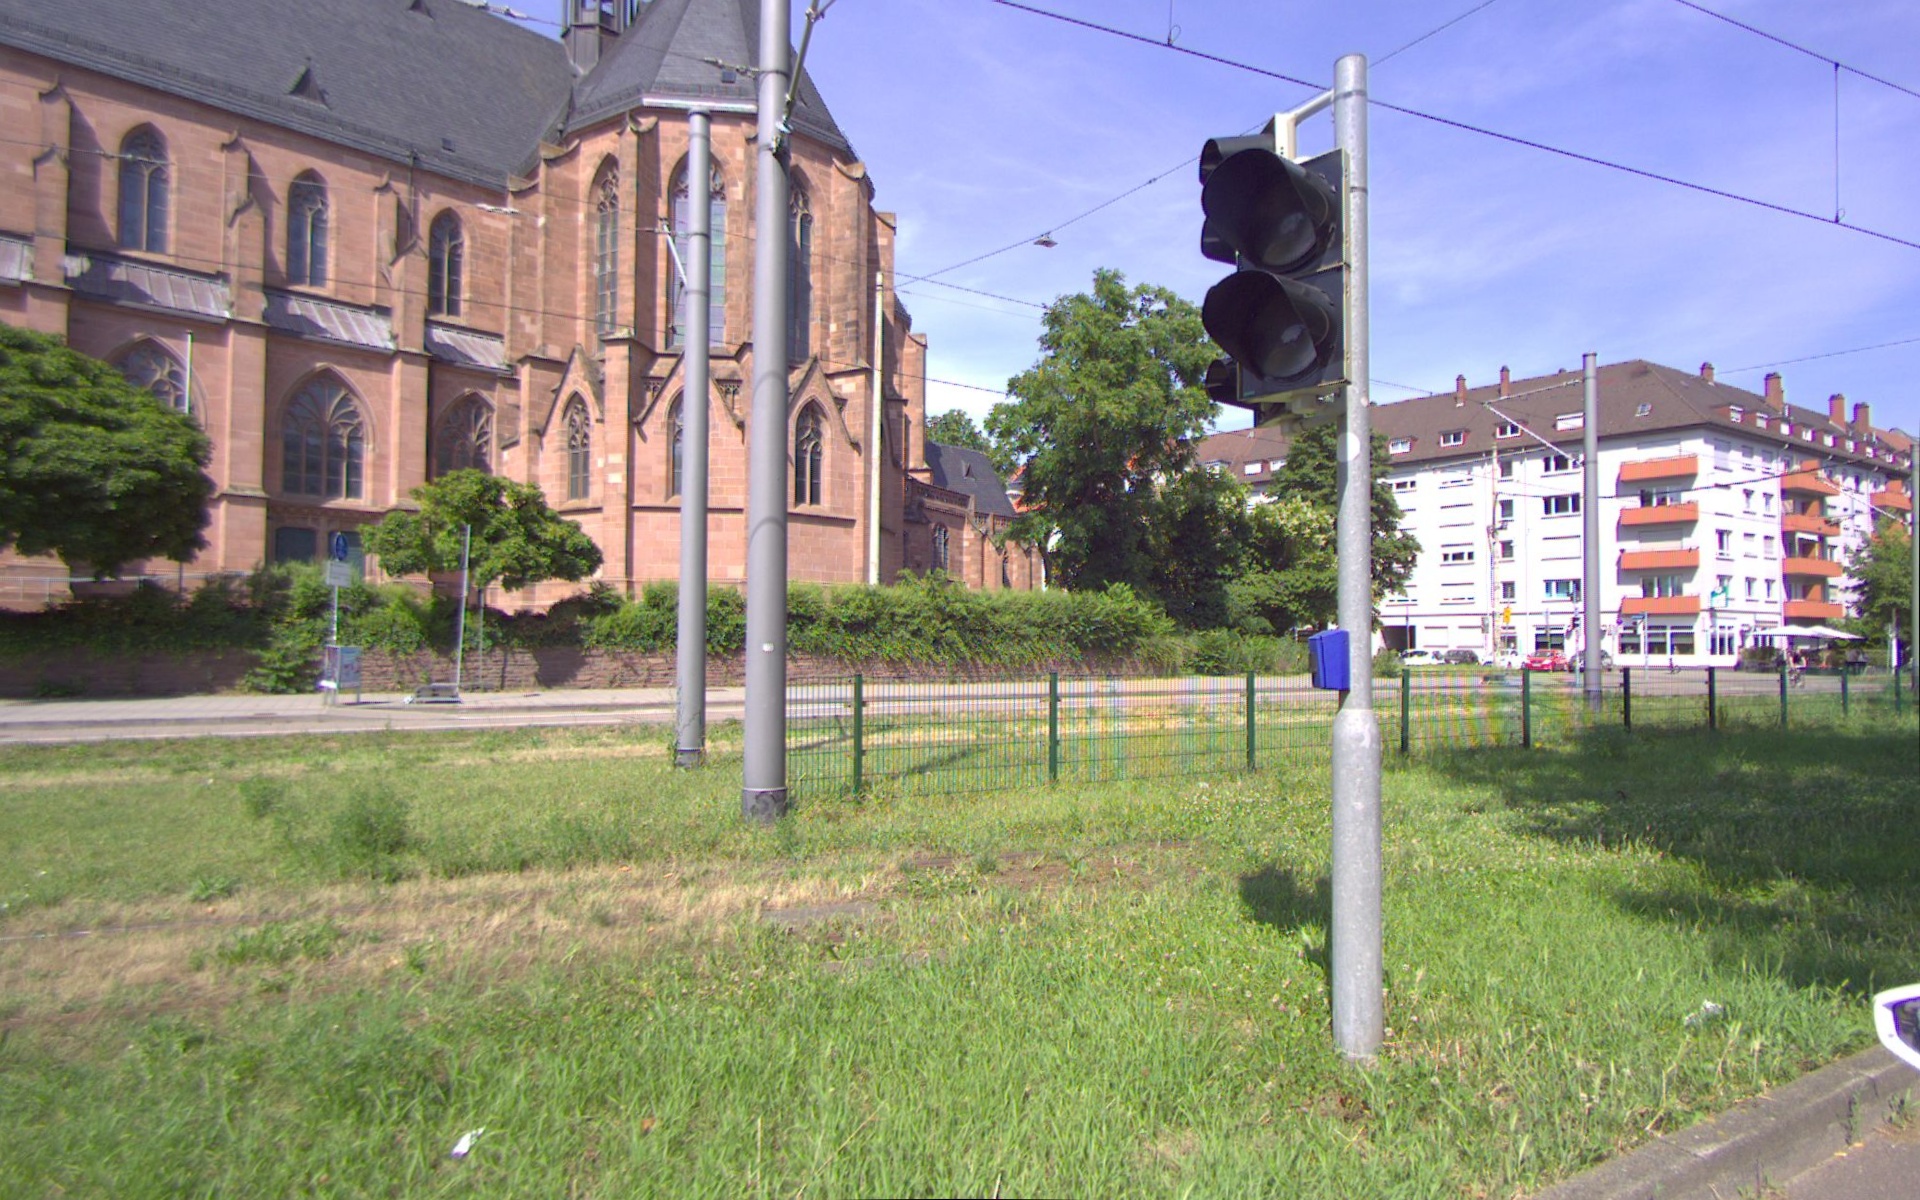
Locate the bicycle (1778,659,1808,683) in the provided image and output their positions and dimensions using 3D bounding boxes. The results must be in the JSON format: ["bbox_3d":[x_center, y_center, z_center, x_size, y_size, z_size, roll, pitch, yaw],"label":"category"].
[{"bbox_3d":[36.904,3.158,44.499,1.908,1.062,0.527,3,-5,-37],"label":"bicycle"}]

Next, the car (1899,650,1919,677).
[{"bbox_3d":[56.180,3.651,58.250,3.962,1.517,1.759,2,-5,-37],"label":"car"}]

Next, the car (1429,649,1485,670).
[{"bbox_3d":[34.325,4.075,69.306,4.130,1.425,1.917,2,-3,-38],"label":"car"}]

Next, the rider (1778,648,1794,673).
[{"bbox_3d":[47.978,3.524,58.338,0.616,1.442,0.587,-2,-3,43],"label":"rider"}]

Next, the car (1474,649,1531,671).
[{"bbox_3d":[36.628,4.038,67.763,4.130,1.425,1.917,2,-3,-38],"label":"car"}]

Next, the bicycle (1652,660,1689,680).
[{"bbox_3d":[43.159,4.225,61.035,2.779,1.152,0.905,2,-3,-34],"label":"bicycle"}]

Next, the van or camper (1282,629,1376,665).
[{"bbox_3d":[25.269,3.211,68.999,2.229,2.360,5.704,2,-3,-43],"label":"van or camper"}]

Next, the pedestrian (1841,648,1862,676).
[{"bbox_3d":[51.877,3.609,58.452,0.846,1.593,0.688,-1,-3,36],"label":"pedestrian"}]

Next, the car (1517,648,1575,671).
[{"bbox_3d":[38.192,3.858,65.466,4.130,1.425,1.917,2,-3,-38],"label":"car"}]

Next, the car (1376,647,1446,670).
[{"bbox_3d":[29.050,3.775,64.713,3.702,1.425,1.823,-3,-4,43],"label":"car"}]

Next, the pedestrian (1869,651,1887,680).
[{"bbox_3d":[52.626,3.744,57.571,0.679,1.593,0.544,-1,-3,36],"label":"pedestrian"}]

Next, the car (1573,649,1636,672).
[{"bbox_3d":[40.382,3.750,62.894,4.599,1.394,1.821,2,-3,-37],"label":"car"}]

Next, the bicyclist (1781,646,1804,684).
[{"bbox_3d":[36.907,2.865,44.529,0.688,1.644,0.618,2,-3,-36],"label":"bicyclist"}]
